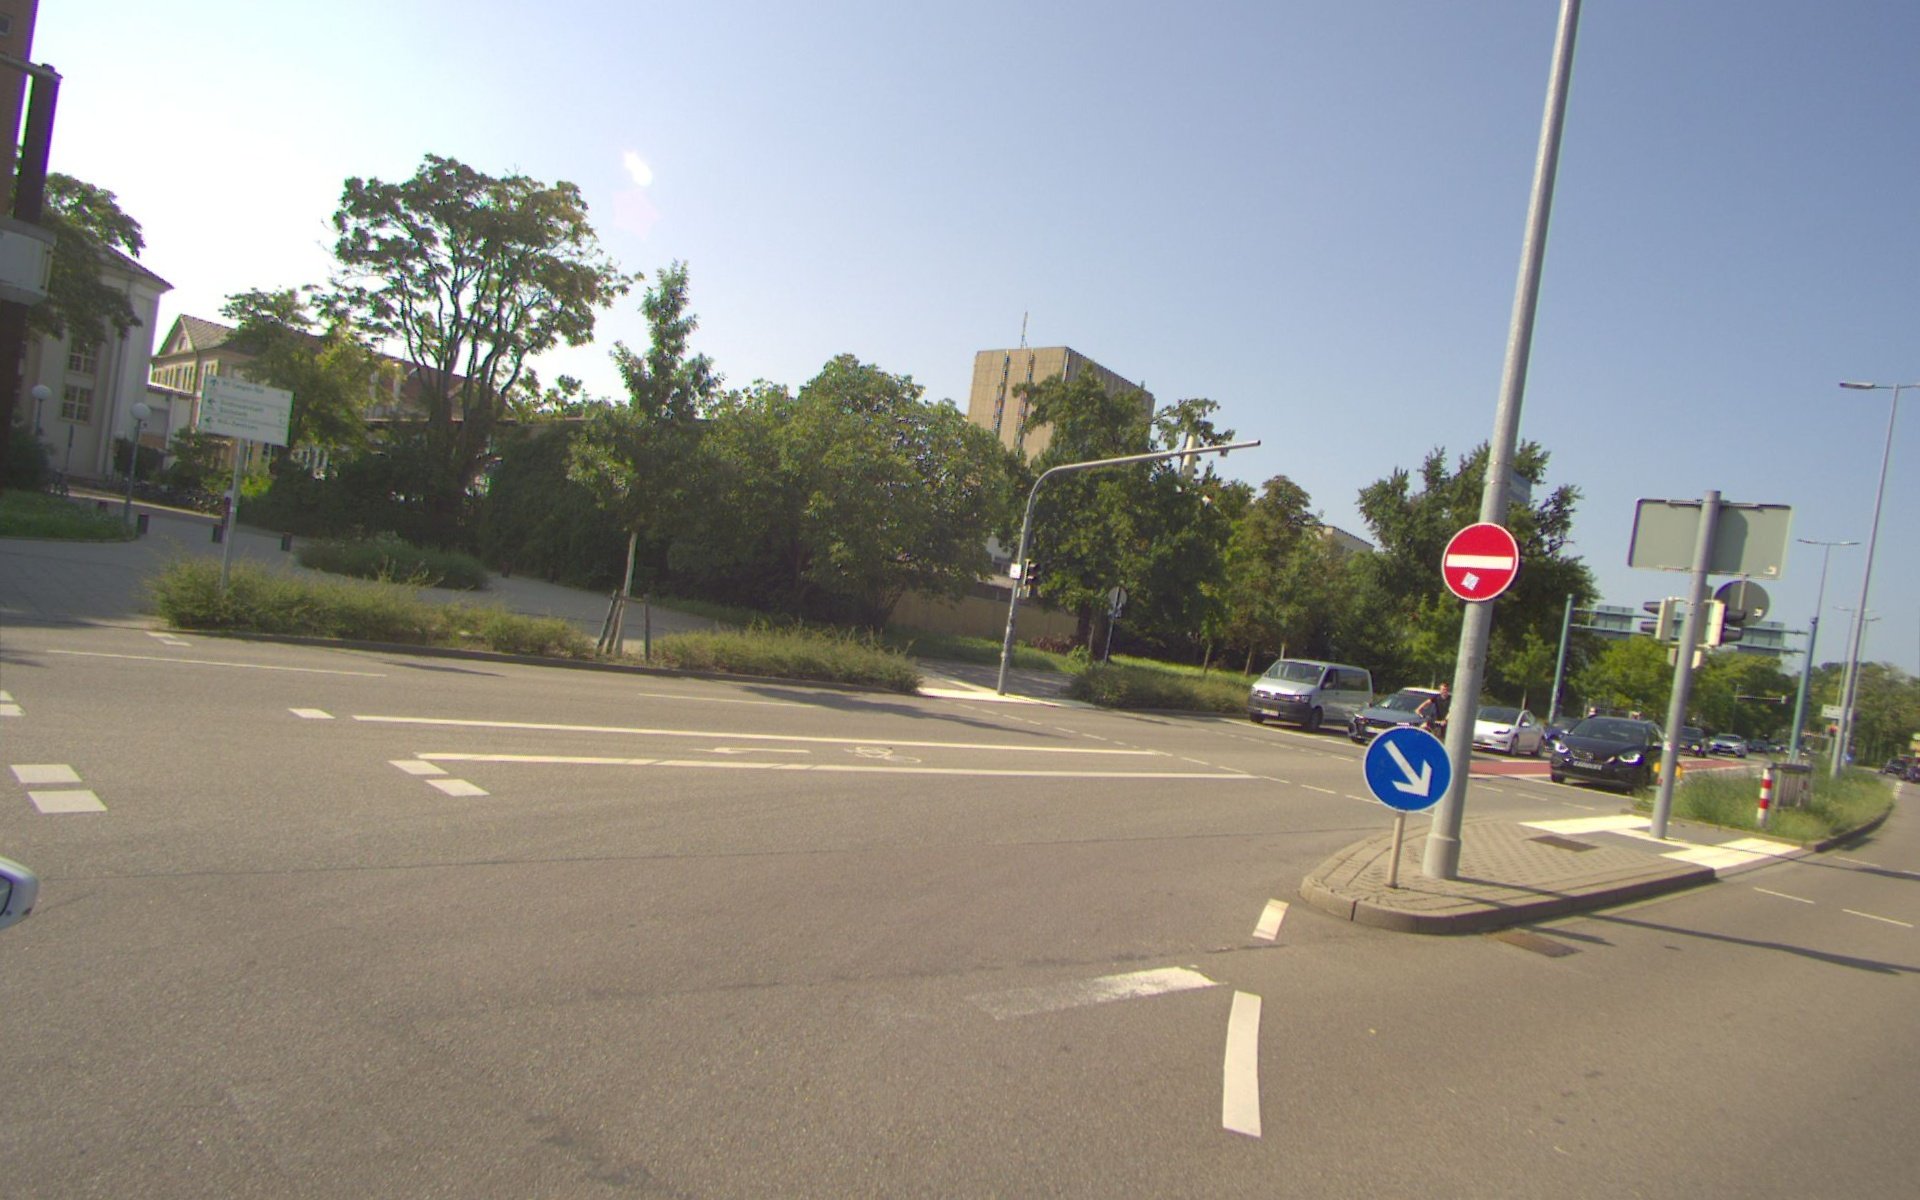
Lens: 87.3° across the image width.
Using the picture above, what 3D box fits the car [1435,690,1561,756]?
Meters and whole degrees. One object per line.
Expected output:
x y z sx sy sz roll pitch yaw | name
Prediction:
16.788 3.854 31.304 4.408 1.523 1.975 9 0 -43 | car

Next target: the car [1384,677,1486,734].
16.849 3.747 35.633 3.944 1.523 1.788 9 0 -43 | car

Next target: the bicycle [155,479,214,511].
-43.412 -5.852 56.336 0.711 1.242 2.424 9 -2 45 | bicycle

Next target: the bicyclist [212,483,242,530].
-26.846 -3.428 36.839 0.647 1.621 0.909 8 1 -40 | bicyclist

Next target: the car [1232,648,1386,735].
10.002 2.649 28.620 4.943 1.897 1.824 9 0 -43 | car

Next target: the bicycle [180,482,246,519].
-37.346 -4.953 50.298 0.711 1.333 2.424 9 -2 45 | bicycle

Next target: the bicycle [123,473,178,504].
-49.095 -6.764 61.008 0.711 1.296 2.424 9 -2 45 | bicycle

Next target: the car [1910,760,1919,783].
72.111 12.906 74.808 1.687 1.593 3.985 9 0 39 | car

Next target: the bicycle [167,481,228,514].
-40.746 -5.453 53.777 0.711 1.237 2.424 9 -2 45 | bicycle

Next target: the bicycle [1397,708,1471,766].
10.066 2.906 21.347 0.760 1.065 1.765 10 1 45 | bicycle

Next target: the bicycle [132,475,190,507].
-45.821 -6.270 57.730 0.711 1.296 2.424 9 -2 45 | bicycle

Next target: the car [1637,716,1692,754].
38.758 7.417 55.316 1.905 1.680 4.278 9 0 41 | car

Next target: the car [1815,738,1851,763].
84.733 14.653 97.690 1.889 2.035 3.995 9 -2 35 | car

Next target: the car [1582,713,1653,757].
28.932 5.936 44.204 1.905 1.523 4.278 9 0 41 | car

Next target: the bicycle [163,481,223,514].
-42.011 -5.614 55.098 0.711 1.248 2.424 9 -2 45 | bicycle

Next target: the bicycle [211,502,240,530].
-26.904 -3.080 36.824 0.671 0.890 1.384 8 1 -41 | bicycle

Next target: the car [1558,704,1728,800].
14.827 3.301 21.740 4.684 1.597 1.832 9 -2 -41 | car

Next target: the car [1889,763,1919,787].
79.187 14.632 84.149 1.686 1.593 3.986 9 0 39 | car

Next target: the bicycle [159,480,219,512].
-42.680 -5.743 55.717 0.711 1.253 2.424 9 -2 45 | bicycle

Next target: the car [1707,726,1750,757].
52.058 9.576 68.123 1.905 1.680 4.278 9 0 41 | car

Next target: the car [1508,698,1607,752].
22.581 4.722 37.934 4.270 1.523 1.975 9 0 -43 | car

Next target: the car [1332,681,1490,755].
11.857 3.113 26.306 4.890 1.417 1.888 9 0 -43 | car

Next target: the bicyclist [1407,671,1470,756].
10.162 2.404 21.355 0.871 1.655 0.739 8 1 -45 | bicyclist

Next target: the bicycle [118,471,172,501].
-50.638 -7.079 62.557 0.711 1.276 2.424 9 -2 45 | bicycle

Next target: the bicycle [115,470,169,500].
-51.331 -7.213 63.140 0.711 1.295 2.424 9 -2 45 | bicycle

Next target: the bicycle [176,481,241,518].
-38.129 -5.097 51.087 0.711 1.333 2.424 9 -2 45 | bicycle

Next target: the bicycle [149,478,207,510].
-44.617 -6.032 57.424 0.711 1.296 2.424 9 -2 45 | bicycle

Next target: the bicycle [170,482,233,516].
-39.860 -5.313 52.894 0.711 1.237 2.424 9 -2 45 | bicycle
